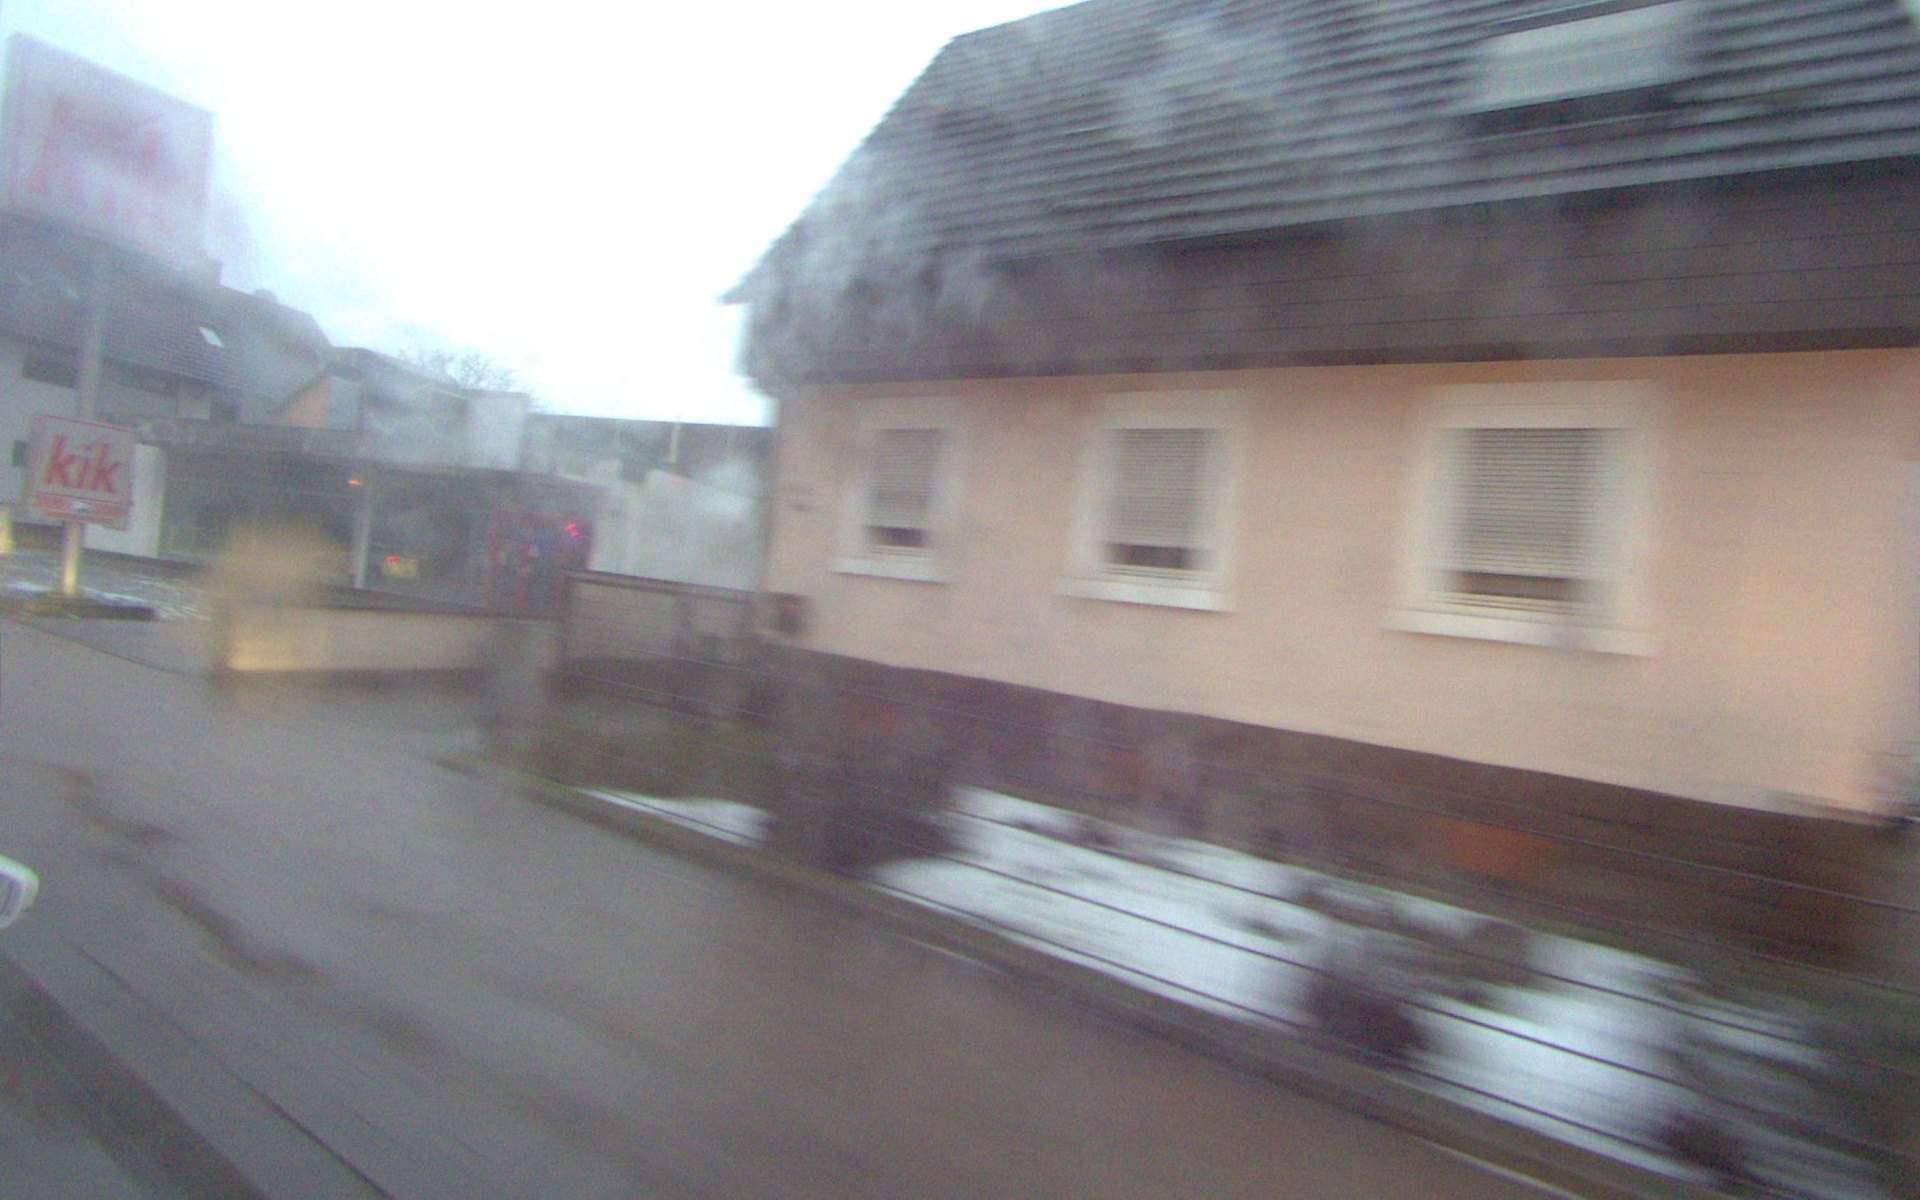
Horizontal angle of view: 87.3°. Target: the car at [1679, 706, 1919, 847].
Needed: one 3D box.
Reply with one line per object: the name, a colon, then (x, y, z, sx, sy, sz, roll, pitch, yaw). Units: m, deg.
car: (12.095, 2.421, 14.552, 1.809, 1.394, 3.999, 7, -1, 23)
